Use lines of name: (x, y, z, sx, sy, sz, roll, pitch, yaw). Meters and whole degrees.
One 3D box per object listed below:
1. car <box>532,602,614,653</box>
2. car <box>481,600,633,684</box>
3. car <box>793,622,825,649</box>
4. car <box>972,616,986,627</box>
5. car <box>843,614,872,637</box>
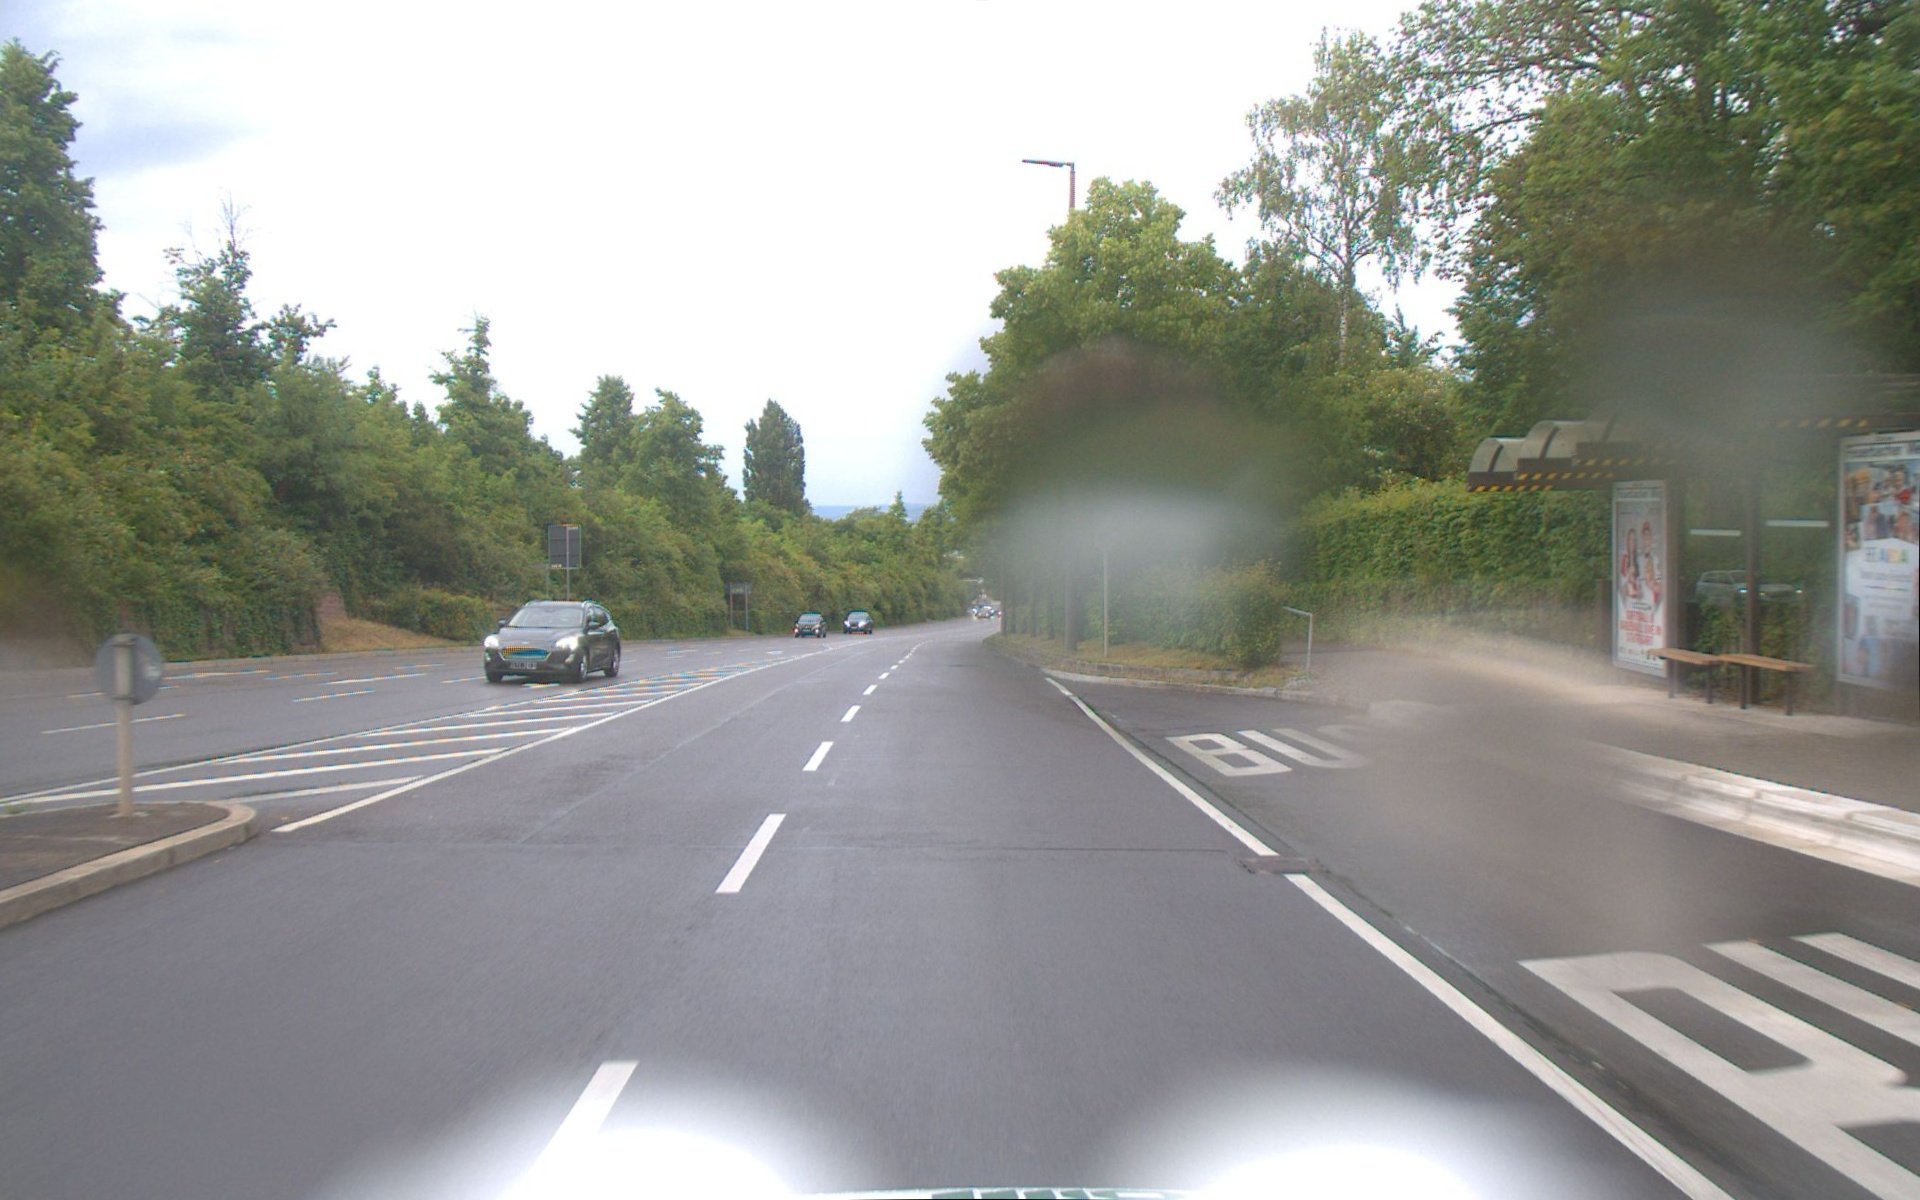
car: (-12.887, 0.897, 55.254, 1.688, 1.619, 4.001, 0, 0, 1)
car: (-7.604, 0.756, 31.629, 1.741, 1.497, 4.645, 0, 0, 0)
car: (-9.638, 2.266, 105.709, 1.690, 1.593, 3.892, 2, -1, 0)
car: (2.825, 3.186, 244.311, 1.825, 1.490, 3.893, 2, -1, 2)
car: (-7.862, 1.968, 127.111, 1.825, 1.617, 3.893, 2, -1, 2)
